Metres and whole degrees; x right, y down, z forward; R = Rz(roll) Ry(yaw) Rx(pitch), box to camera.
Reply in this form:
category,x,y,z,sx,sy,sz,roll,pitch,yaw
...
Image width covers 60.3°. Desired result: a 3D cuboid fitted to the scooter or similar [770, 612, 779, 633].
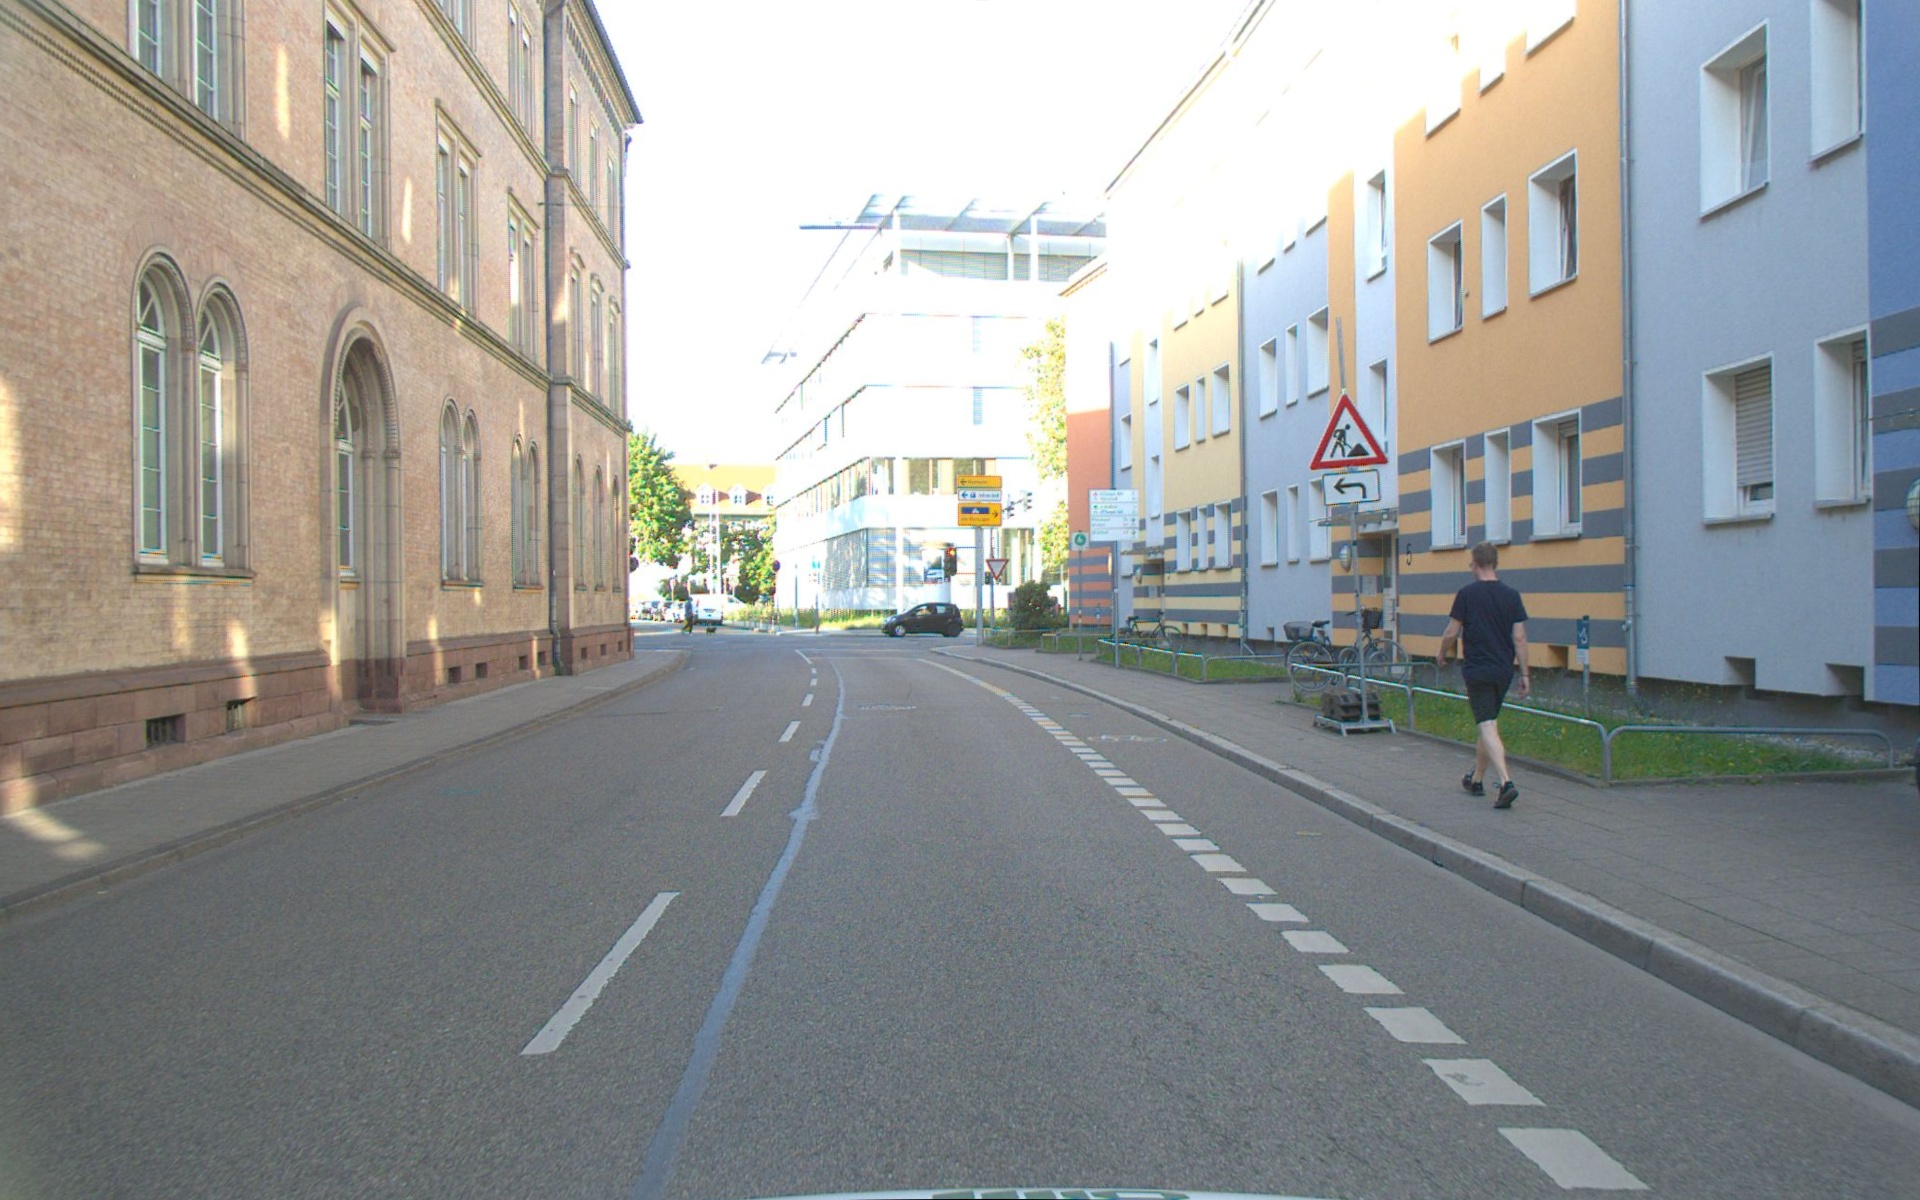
category,x,y,z,sx,sy,sz,roll,pitch,yaw
scooter or similar,-9.728,1.164,86.656,0.319,1.078,1.138,0,0,-13

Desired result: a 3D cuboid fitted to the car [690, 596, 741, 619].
category,x,y,z,sx,sy,sz,roll,pitch,yaw
car,-21.135,0.656,143.009,3.936,1.949,1.905,2,-1,-25

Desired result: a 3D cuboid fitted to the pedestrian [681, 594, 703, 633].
category,x,y,z,sx,sy,sz,roll,pitch,yaw
pedestrian,-12.554,0.629,77.524,0.911,1.790,0.844,1,-1,-15

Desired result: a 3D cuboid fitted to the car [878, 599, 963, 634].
category,x,y,z,sx,sy,sz,roll,pitch,yaw
car,-1.703,0.710,71.491,3.372,1.471,1.767,0,-1,-15

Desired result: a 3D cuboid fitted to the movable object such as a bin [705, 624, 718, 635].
category,x,y,z,sx,sy,sz,roll,pitch,yaw
movable object such as a bin,-11.857,1.393,78.791,0.580,0.489,0.285,-1,0,-18

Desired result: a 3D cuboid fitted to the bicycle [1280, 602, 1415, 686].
category,x,y,z,sx,sy,sz,roll,pitch,yaw
bicycle,5.499,0.620,23.492,1.774,1.157,0.551,-1,-1,-4

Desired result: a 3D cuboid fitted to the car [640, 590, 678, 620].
category,x,y,z,sx,sy,sz,roll,pitch,yaw
car,-22.951,0.406,125.887,2.292,2.149,4.983,1,-1,-16

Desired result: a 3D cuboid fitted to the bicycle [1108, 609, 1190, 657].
category,x,y,z,sx,sy,sz,roll,pitch,yaw
bicycle,4.297,0.747,37.660,1.720,1.021,0.612,-2,-1,-7

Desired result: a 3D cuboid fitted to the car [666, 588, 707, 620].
category,x,y,z,sx,sy,sz,roll,pitch,yaw
car,-19.328,0.305,116.621,2.292,2.149,4.983,1,-1,-16

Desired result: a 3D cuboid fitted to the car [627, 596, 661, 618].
category,x,y,z,sx,sy,sz,roll,pitch,yaw
car,-25.915,0.593,135.625,2.292,1.764,4.983,2,-1,-16

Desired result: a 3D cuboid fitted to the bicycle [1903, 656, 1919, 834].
category,x,y,z,sx,sy,sz,roll,pitch,yaw
bicycle,6.076,0.768,8.983,1.713,0.963,0.335,-2,-1,-2

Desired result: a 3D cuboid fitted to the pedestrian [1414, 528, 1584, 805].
category,x,y,z,sx,sy,sz,roll,pitch,yaw
pedestrian,3.720,0.436,11.512,0.683,1.790,1.188,-3,0,-2

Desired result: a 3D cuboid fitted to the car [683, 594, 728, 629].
category,x,y,z,sx,sy,sz,roll,pitch,yaw
car,-16.305,0.758,105.657,2.383,2.149,5.212,1,-1,-14
